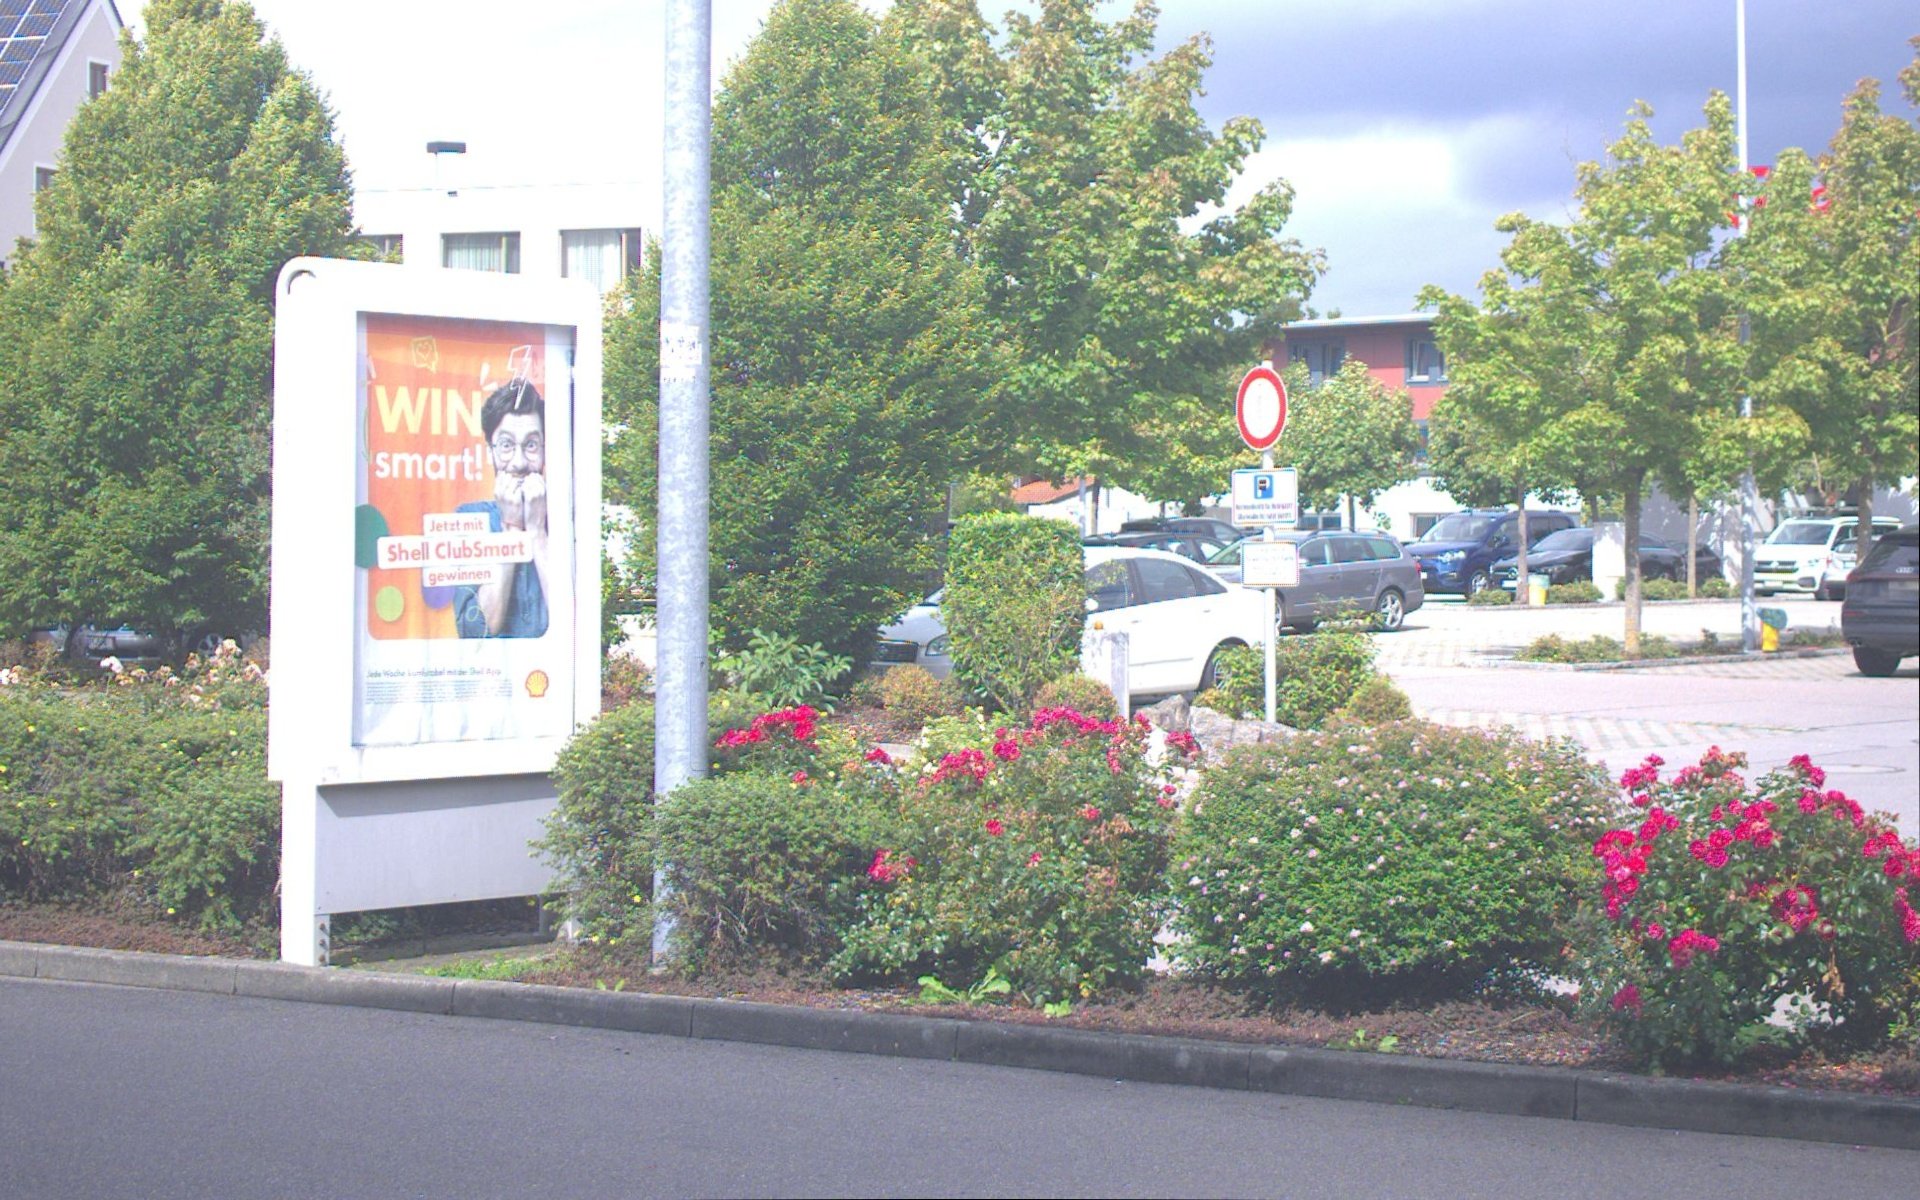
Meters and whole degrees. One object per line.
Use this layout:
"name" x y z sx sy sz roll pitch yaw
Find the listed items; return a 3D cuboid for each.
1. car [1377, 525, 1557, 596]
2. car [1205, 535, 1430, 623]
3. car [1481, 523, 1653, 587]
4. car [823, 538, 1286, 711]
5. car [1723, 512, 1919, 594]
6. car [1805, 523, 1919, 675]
"car" 9.871 -0.765 66.772 3.379 1.316 1.747 0 1 -44
"car" 5.189 -0.296 49.705 3.218 1.224 1.505 0 1 -44
"car" 11.500 -0.846 65.024 3.409 1.174 1.485 0 1 -44
"car" 0.893 0.198 29.915 4.332 1.399 1.370 0 1 -44
"car" 20.231 -1.092 80.632 4.864 1.827 2.184 0 1 -43
"car" 11.121 -0.012 36.719 4.491 1.543 1.885 0 1 -43
